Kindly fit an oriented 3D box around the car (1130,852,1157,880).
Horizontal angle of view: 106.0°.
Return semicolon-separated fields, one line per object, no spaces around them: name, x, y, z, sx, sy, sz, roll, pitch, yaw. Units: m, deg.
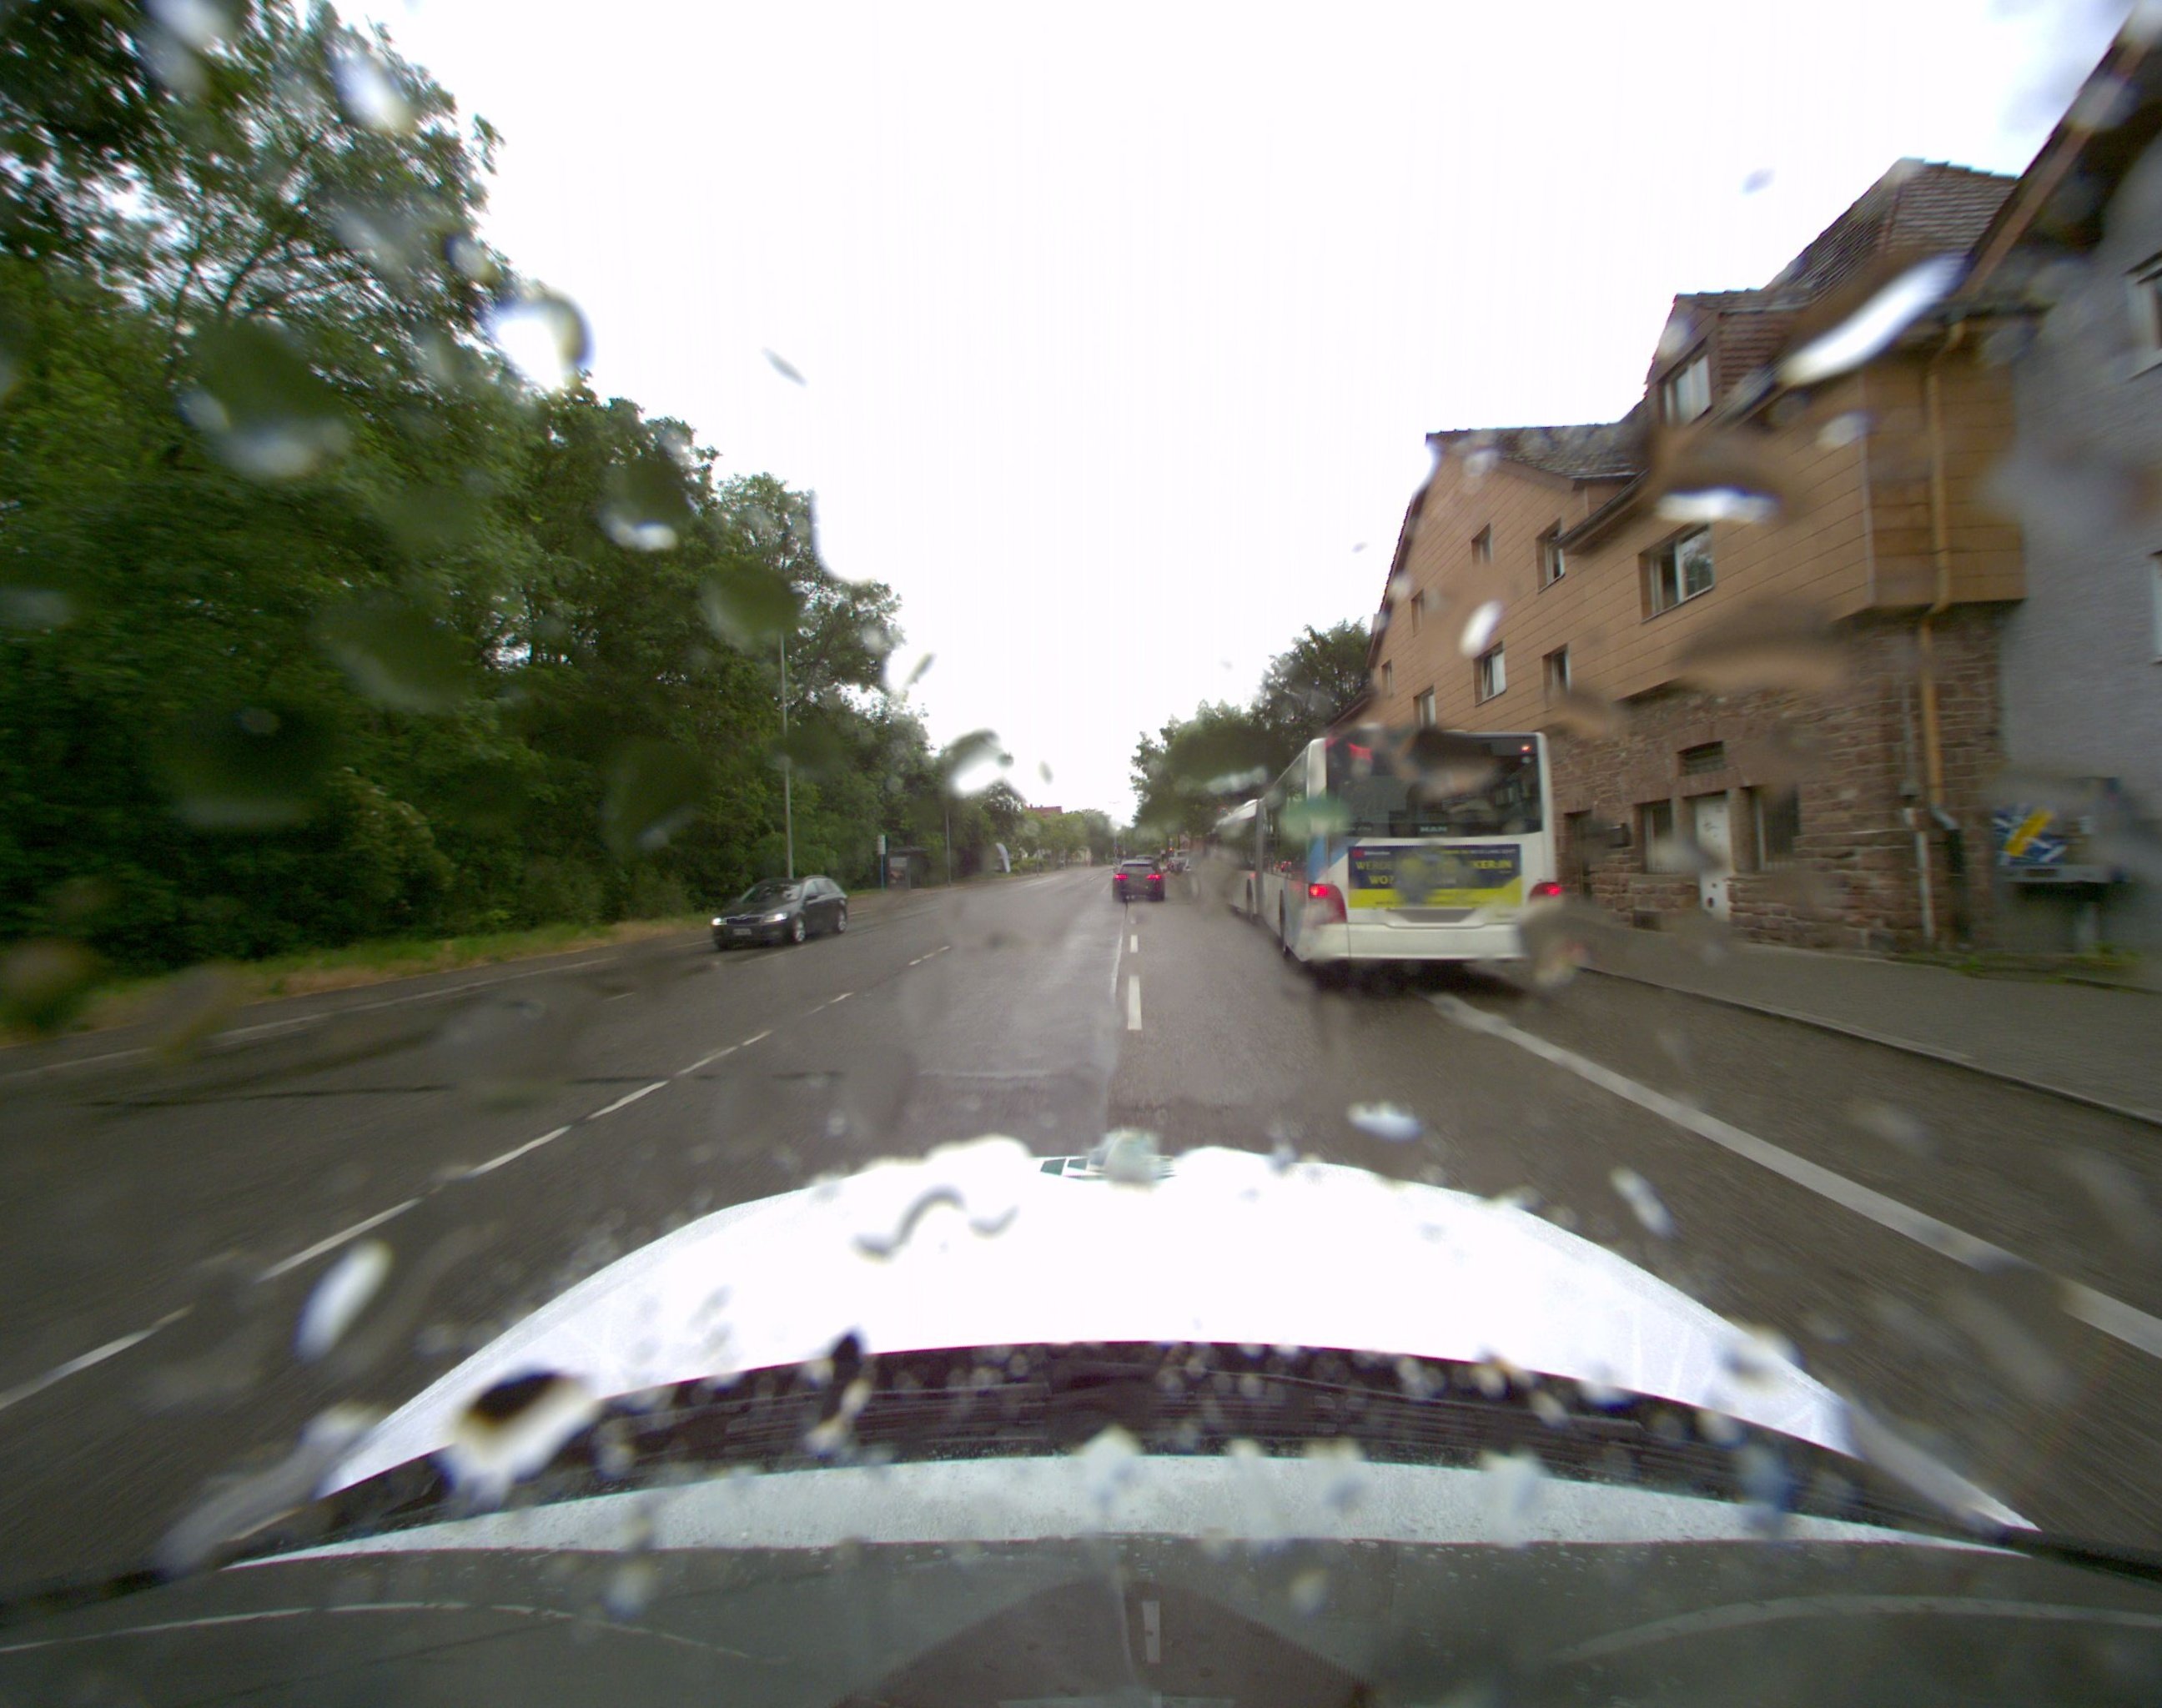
car;4.703;0.905;61.538;1.985;2.014;4.004;-1;0;4

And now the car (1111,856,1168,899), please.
car;2.220;0.838;30.960;1.985;1.453;4.004;1;0;4

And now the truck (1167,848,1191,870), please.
truck;9.725;0.464;81.247;1.986;2.013;4.002;-1;0;2

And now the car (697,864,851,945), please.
car;-6.784;1.053;18.496;1.763;1.533;4.003;-2;0;2

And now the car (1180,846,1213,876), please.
car;8.305;0.479;58.852;1.986;2.013;4.002;-1;0;2

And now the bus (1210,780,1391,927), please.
bus;5.161;-0.006;21.221;2.611;2.847;9.804;-2;0;4

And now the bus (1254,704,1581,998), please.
bus;4.221;-0.013;12.305;2.607;2.847;8.309;-2;0;9

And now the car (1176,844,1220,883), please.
car;6.574;0.492;46.075;1.986;2.013;4.002;-1;0;2

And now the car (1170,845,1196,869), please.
car;9.158;0.219;73.275;1.986;2.013;4.002;-1;0;2

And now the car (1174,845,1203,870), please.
car;9.053;0.256;68.774;1.986;2.013;4.002;-1;0;2
